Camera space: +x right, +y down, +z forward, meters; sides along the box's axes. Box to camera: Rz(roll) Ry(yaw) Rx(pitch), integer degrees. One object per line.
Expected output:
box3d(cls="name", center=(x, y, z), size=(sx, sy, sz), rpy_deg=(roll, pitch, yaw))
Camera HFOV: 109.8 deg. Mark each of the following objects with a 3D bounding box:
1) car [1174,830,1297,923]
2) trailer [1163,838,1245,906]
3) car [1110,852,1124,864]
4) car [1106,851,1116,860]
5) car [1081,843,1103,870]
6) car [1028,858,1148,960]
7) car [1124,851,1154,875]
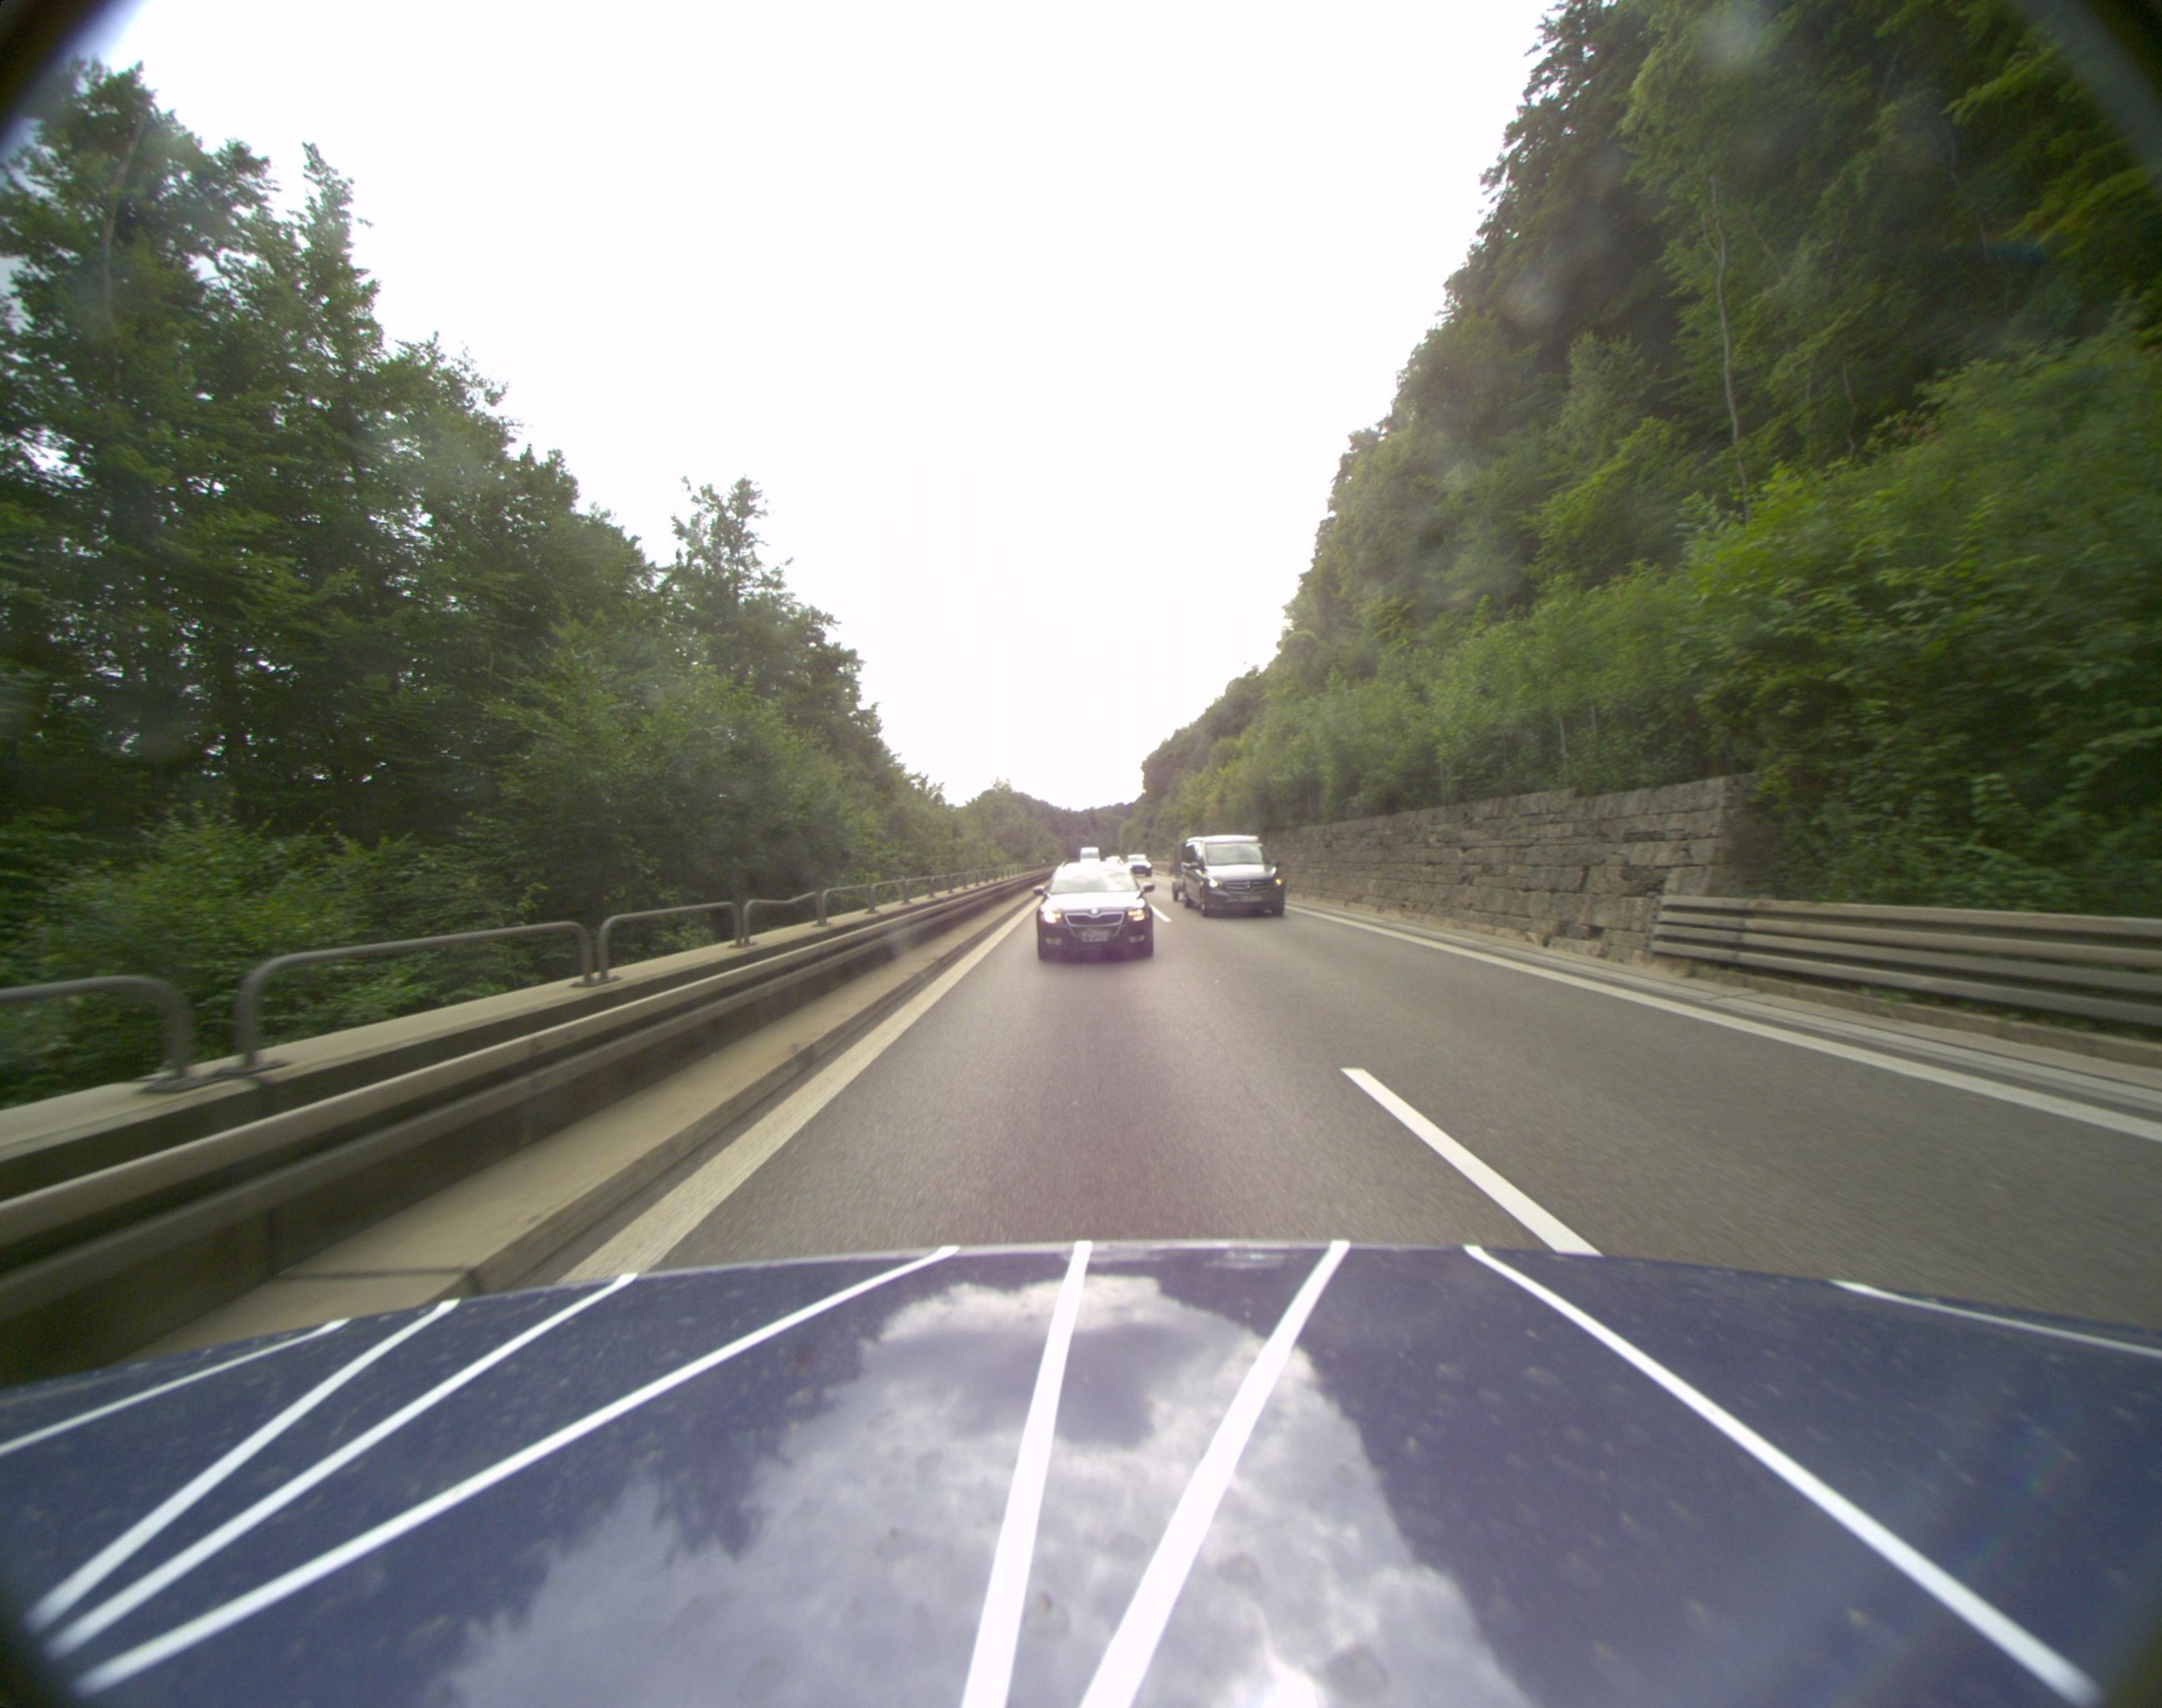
box3d(cls="car", center=(3.800, 0.515, 19.751), size=(1.998, 2.002, 5.540), rpy_deg=(-2, 0, 0))
box3d(cls="trailer", center=(3.822, 0.531, 24.220), size=(1.976, 1.928, 3.430), rpy_deg=(-2, 0, 0))
box3d(cls="car", center=(4.882, 0.511, 103.191), size=(1.823, 1.546, 4.001), rpy_deg=(1, -1, 1))
box3d(cls="car", center=(5.423, 0.342, 138.455), size=(1.823, 1.546, 4.001), rpy_deg=(1, -1, 1))
box3d(cls="car", center=(1.159, 0.324, 75.731), size=(2.099, 2.547, 5.921), rpy_deg=(1, -1, 2))
box3d(cls="car", center=(0.138, 0.824, 13.017), size=(1.638, 1.384, 4.499), rpy_deg=(-2, -1, 1))
box3d(cls="car", center=(4.271, 0.649, 56.708), size=(1.976, 1.584, 5.586), rpy_deg=(-2, 1, 3))
